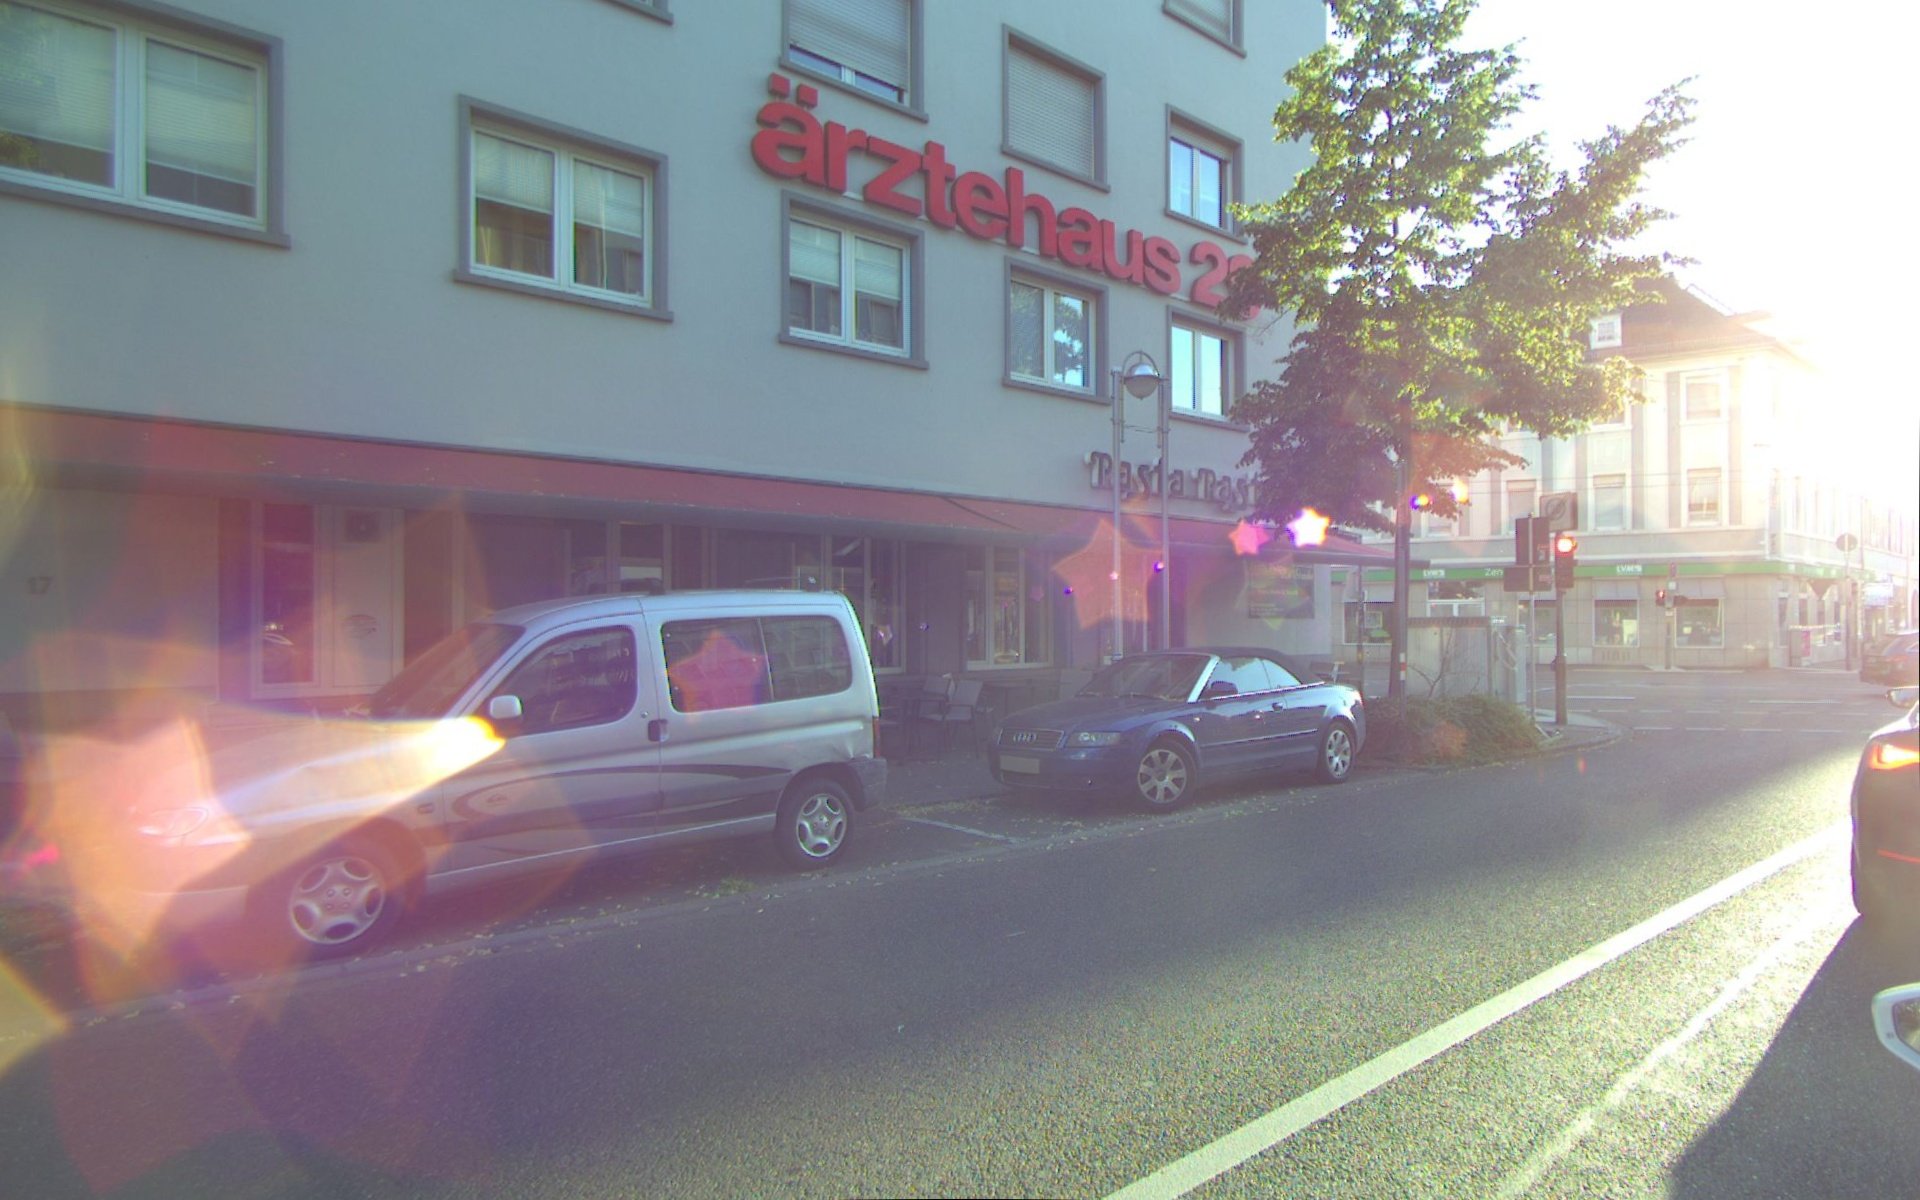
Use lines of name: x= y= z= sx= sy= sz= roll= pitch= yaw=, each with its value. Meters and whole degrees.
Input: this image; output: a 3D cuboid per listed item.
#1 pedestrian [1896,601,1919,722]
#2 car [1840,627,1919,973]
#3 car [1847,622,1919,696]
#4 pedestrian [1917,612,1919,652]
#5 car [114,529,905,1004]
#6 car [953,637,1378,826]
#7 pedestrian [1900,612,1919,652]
pedestrian: x=15.445 y=0.957 z=15.742 sx=0.987 sy=1.885 sz=0.638 roll=-1 pitch=-1 yaw=32
car: x=6.053 y=0.882 z=5.109 sx=4.188 sy=1.448 sz=1.723 roll=1 pitch=0 yaw=-39
car: x=21.341 y=1.212 z=20.634 sx=4.339 sy=1.493 sz=1.815 roll=0 pitch=-1 yaw=28
pedestrian: x=46.944 y=1.565 z=48.630 sx=0.608 sy=1.901 sz=0.676 roll=1 pitch=0 yaw=-17
car: x=-2.425 y=0.748 z=6.027 sx=4.022 sy=1.912 sz=1.655 roll=2 pitch=-4 yaw=-41
car: x=2.118 y=1.101 z=9.703 sx=4.244 sy=1.434 sz=1.710 roll=2 pitch=-4 yaw=-39
pedestrian: x=46.423 y=1.554 z=49.075 sx=0.626 sy=1.901 sz=0.638 roll=1 pitch=0 yaw=-38
